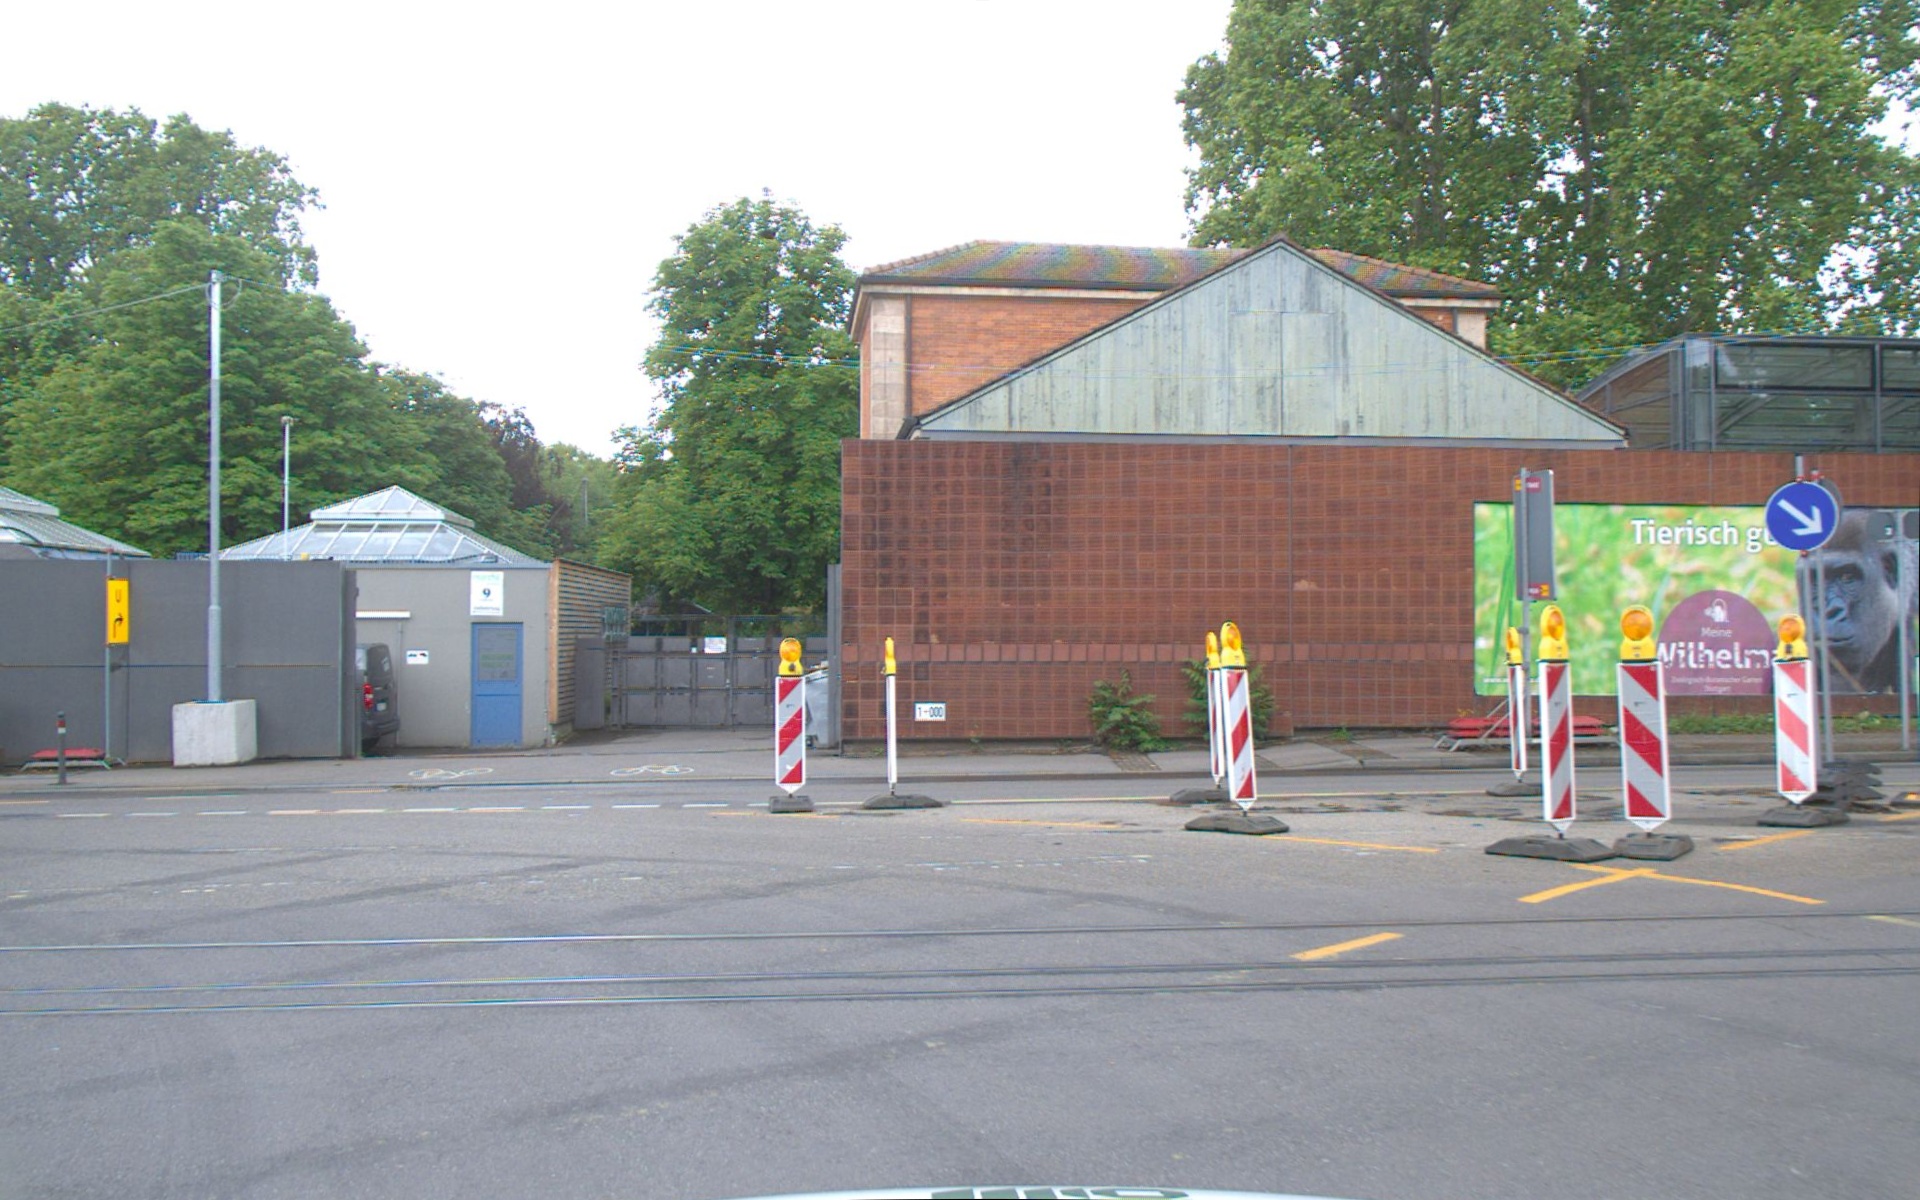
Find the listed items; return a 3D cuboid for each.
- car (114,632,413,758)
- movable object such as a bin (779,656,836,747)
[{"bbox_3d":[-12.143,1.649,29.131,4.358,2.121,2.102,0,-3,-6],"label":"car"},{"bbox_3d":[-2.352,1.563,25.672,0.831,1.364,0.800,-1,-2,-4],"label":"movable object such as a bin"}]
